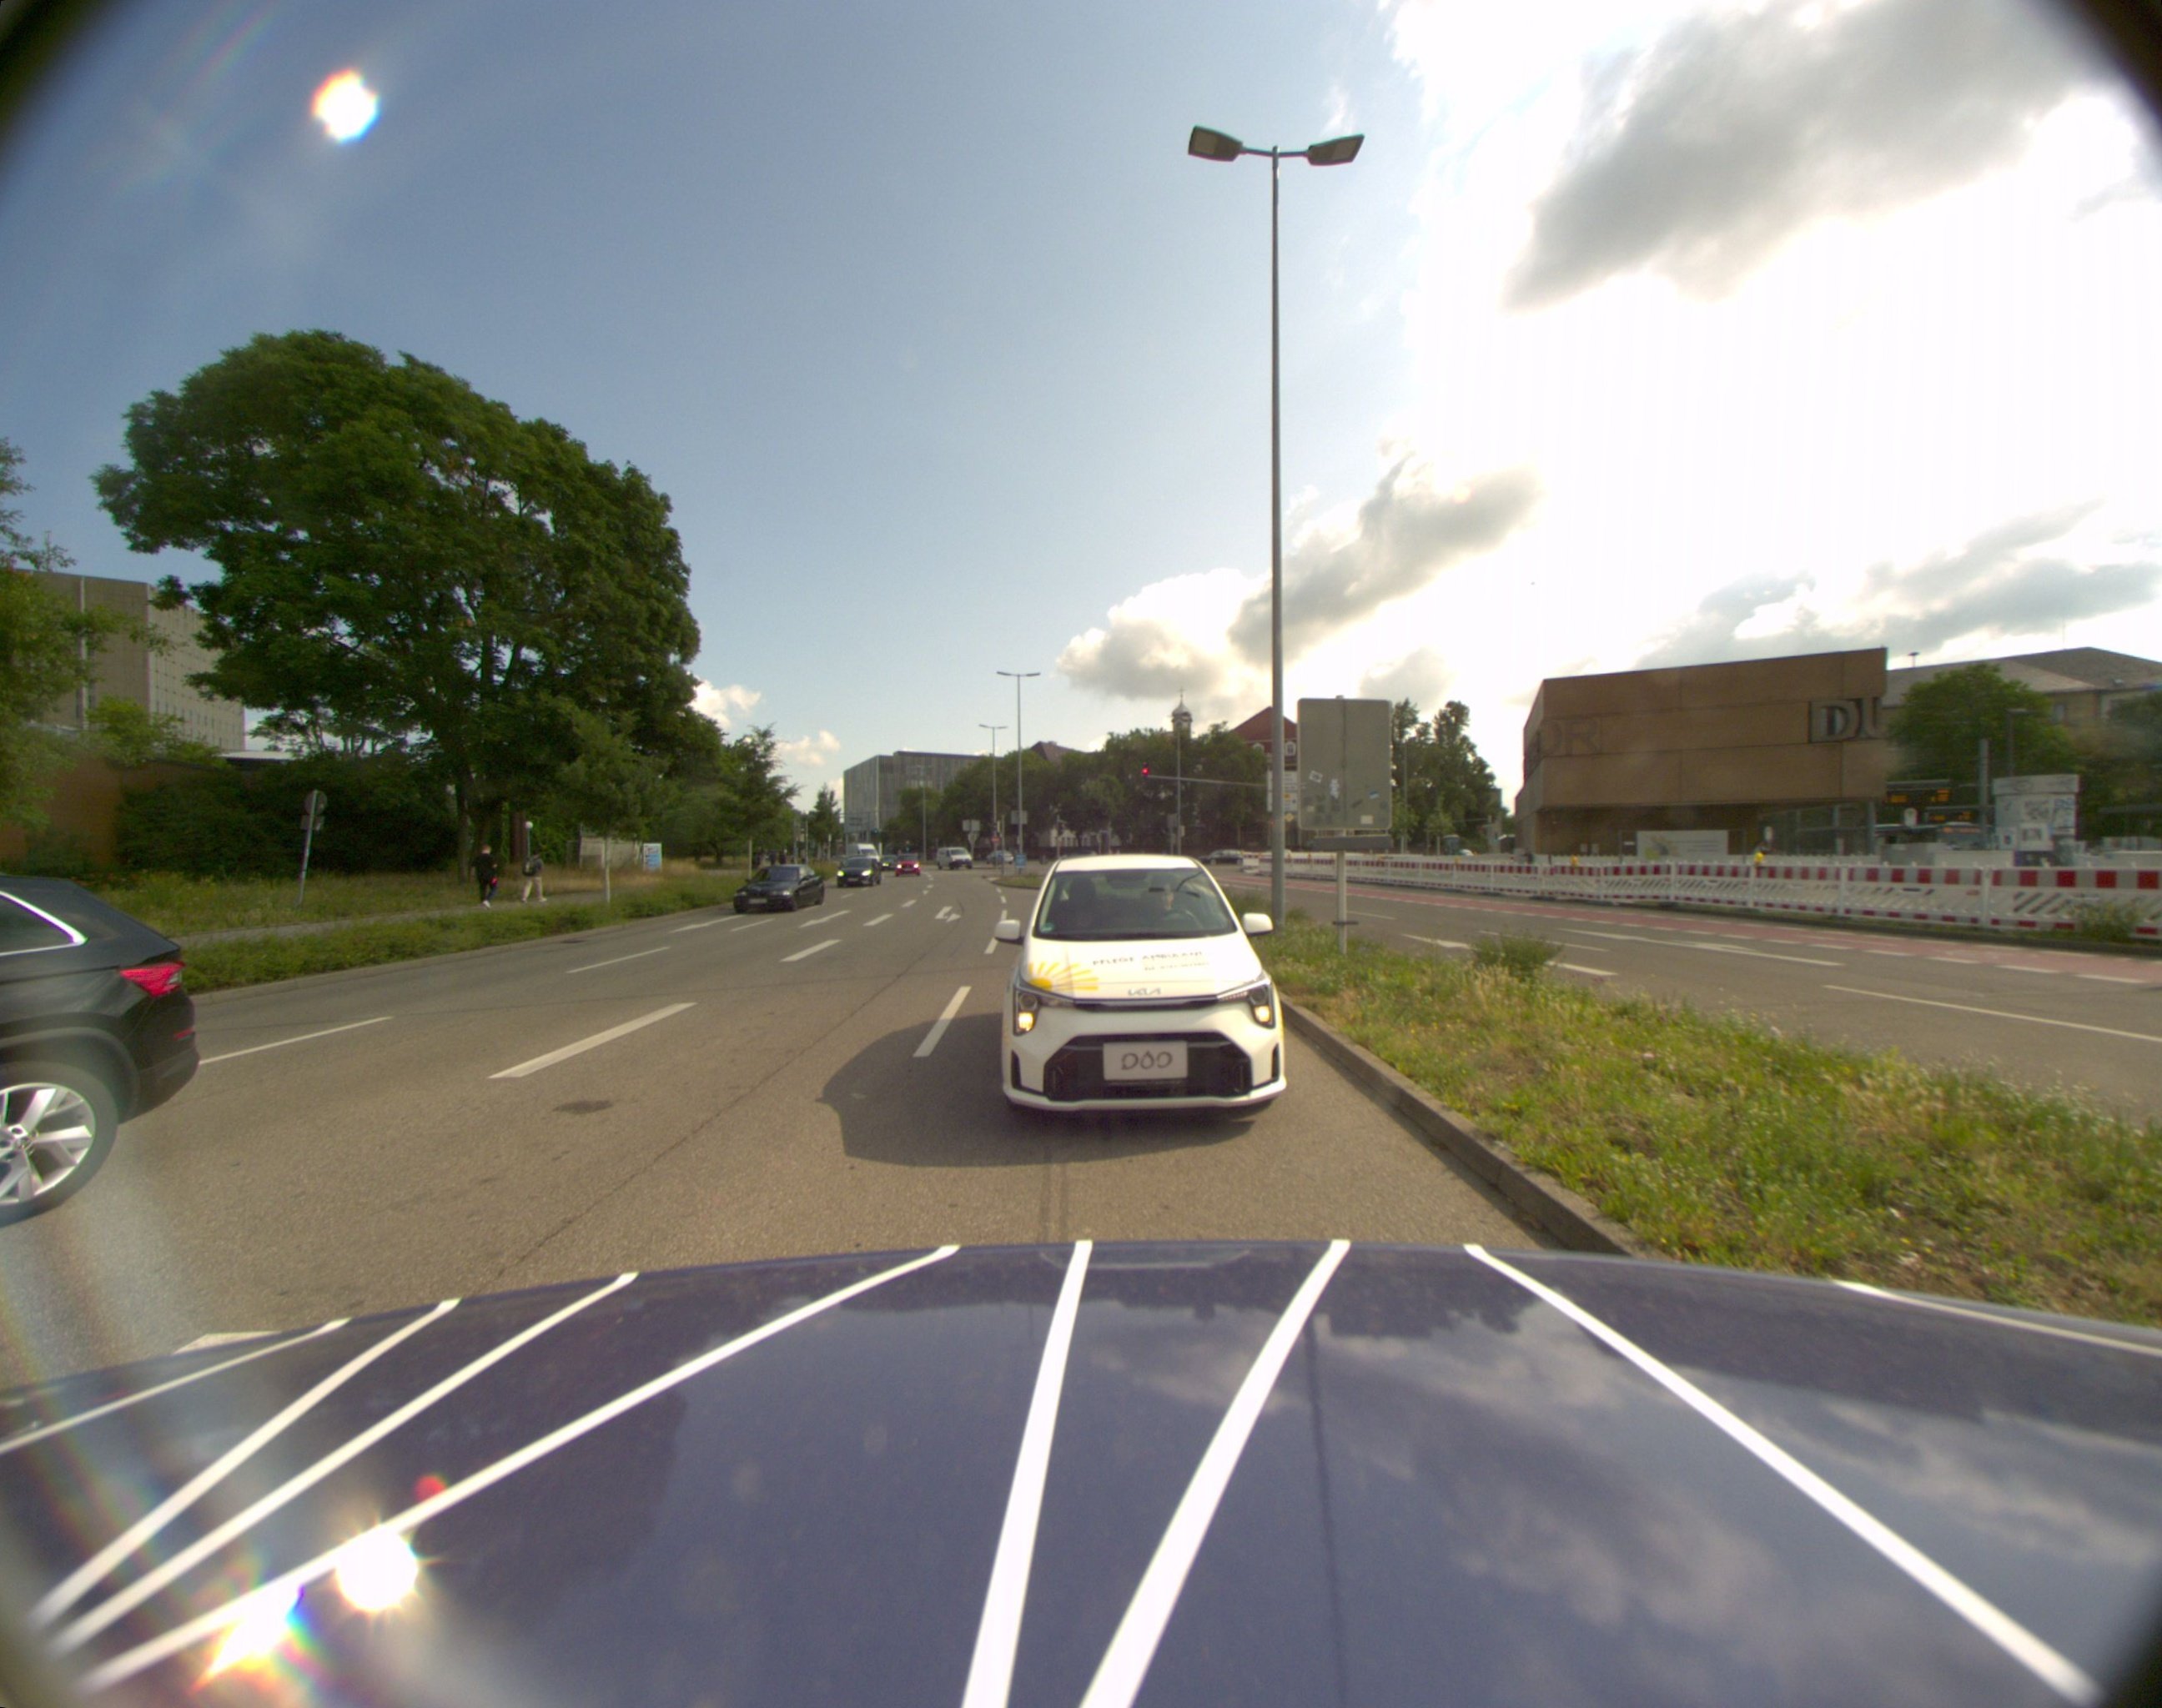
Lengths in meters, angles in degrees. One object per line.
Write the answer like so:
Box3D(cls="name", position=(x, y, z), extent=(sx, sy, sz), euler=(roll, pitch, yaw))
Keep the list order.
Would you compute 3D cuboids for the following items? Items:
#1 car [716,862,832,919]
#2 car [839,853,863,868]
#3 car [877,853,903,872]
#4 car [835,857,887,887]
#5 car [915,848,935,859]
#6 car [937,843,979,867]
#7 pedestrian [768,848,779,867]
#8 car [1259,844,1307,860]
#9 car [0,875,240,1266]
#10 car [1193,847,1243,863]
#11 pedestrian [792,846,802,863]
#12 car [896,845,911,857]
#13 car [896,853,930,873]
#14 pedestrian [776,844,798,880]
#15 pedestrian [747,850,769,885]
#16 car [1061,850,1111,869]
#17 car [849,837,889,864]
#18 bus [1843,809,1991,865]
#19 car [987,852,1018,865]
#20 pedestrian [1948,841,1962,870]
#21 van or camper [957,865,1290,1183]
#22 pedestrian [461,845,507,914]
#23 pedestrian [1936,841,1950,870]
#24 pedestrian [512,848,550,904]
Box3D(cls="car", position=(-9.383, 1.057, 23.669), extent=(1.999, 1.390, 4.506), euler=(-1, 1, -4))
Box3D(cls="car", position=(-23.012, 0.637, 75.940), extent=(2.002, 1.477, 3.993), euler=(0, 0, -20))
Box3D(cls="car", position=(-17.381, 0.764, 68.966), extent=(1.893, 1.608, 3.993), euler=(-2, 0, -19))
Box3D(cls="car", position=(-11.053, 0.862, 38.412), extent=(1.713, 1.445, 3.998), euler=(-1, 0, -5))
Box3D(cls="car", position=(-23.303, -0.074, 113.422), extent=(2.003, 1.587, 3.991), euler=(-1, 1, -25))
Box3D(cls="car", position=(-11.021, 0.150, 67.931), extent=(2.003, 2.002, 5.063), euler=(-2, 0, -29))
Box3D(cls="pedestrian", position=(-33.190, 0.359, 82.026), extent=(0.988, 2.002, 1.128), euler=(-2, 1, -16))
Box3D(cls="car", position=(18.674, -0.178, 70.237), extent=(4.136, 1.382, 1.756), euler=(0, 0, -29))
Box3D(cls="car", position=(-5.681, 0.996, 1.860), extent=(1.999, 1.658, 4.683), euler=(-2, 0, -1))
Box3D(cls="car", position=(12.014, 0.090, 66.629), extent=(4.136, 1.382, 1.756), euler=(0, 0, -29))
Box3D(cls="pedestrian", position=(-33.973, 0.096, 90.955), extent=(0.988, 2.002, 1.128), euler=(-1, 1, -16))
Box3D(cls="car", position=(-31.470, -0.496, 134.369), extent=(1.775, 2.002, 3.604), euler=(0, 0, -26))
Box3D(cls="car", position=(-11.622, 0.601, 52.636), extent=(1.608, 1.207, 3.010), euler=(-2, 1, 1))
Box3D(cls="pedestrian", position=(-16.557, 0.443, 42.763), extent=(0.988, 2.002, 1.128), euler=(-2, 1, -16))
Box3D(cls="pedestrian", position=(-18.881, 0.788, 44.415), extent=(0.988, 2.002, 1.128), euler=(-2, 1, -16))
Box3D(cls="car", position=(0.458, 0.547, 72.789), extent=(4.333, 1.674, 2.003), euler=(-2, 0, 20))
Box3D(cls="car", position=(-23.427, -0.369, 83.765), extent=(2.490, 2.862, 6.133), euler=(-1, 1, -33))
Box3D(cls="bus", position=(58.285, -1.122, 53.506), extent=(2.957, 3.487, 12.276), euler=(0, 1, 28))
Box3D(cls="car", position=(-8.756, 0.510, 84.171), extent=(1.961, 1.479, 5.090), euler=(0, 0, -23))
Box3D(cls="pedestrian", position=(47.500, 0.071, 41.283), extent=(0.357, 1.593, 0.365), euler=(0, 1, 21))
Box3D(cls="van or camper", position=(0.287, 0.861, 5.728), extent=(1.627, 1.467, 4.000), euler=(0, 0, 2))
Box3D(cls="pedestrian", position=(-16.693, 0.701, 21.258), extent=(0.760, 1.860, 0.645), euler=(2, 1, 1))
Box3D(cls="pedestrian", position=(47.072, 0.069, 41.508), extent=(0.357, 1.593, 0.365), euler=(0, 1, 21))
Box3D(cls="pedestrian", position=(-17.536, 0.707, 24.235), extent=(0.671, 1.736, 0.645), euler=(2, 1, 1))
